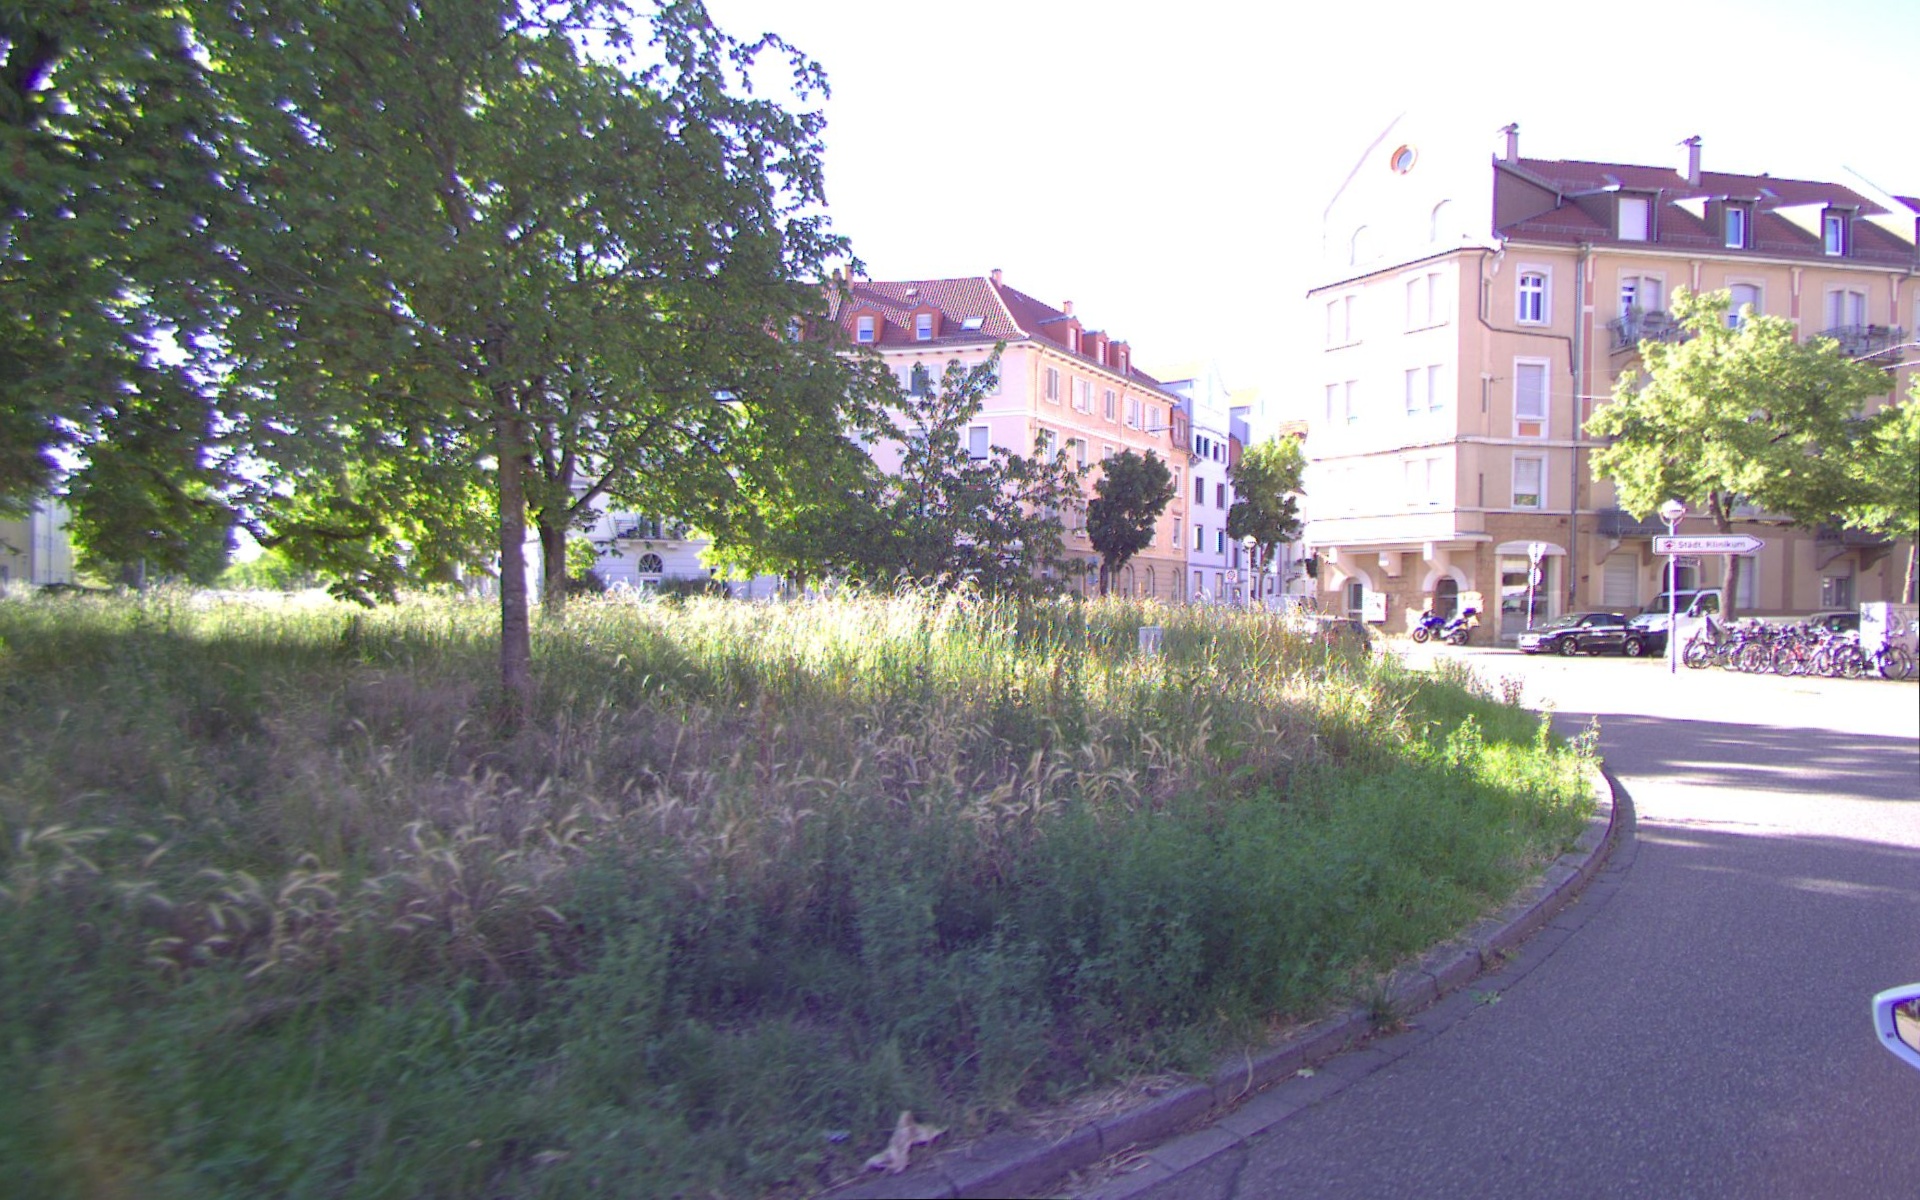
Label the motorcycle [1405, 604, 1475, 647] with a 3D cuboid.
[{"bbox_3d":[17.644,0.919,36.980,0.694,1.430,2.225,-1,3,-38],"label":"motorcycle"}]

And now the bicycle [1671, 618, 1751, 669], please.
[{"bbox_3d":[18.420,1.057,24.653,1.648,1.209,0.537,0,2,-7],"label":"bicycle"}]

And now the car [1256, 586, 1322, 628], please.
[{"bbox_3d":[16.061,0.337,48.871,2.104,1.934,4.551,1,0,31],"label":"car"}]

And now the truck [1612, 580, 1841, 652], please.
[{"bbox_3d":[25.518,0.551,33.531,6.499,2.322,2.137,0,-1,-8],"label":"truck"}]

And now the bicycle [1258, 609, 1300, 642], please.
[{"bbox_3d":[11.524,0.915,36.234,1.682,1.161,0.610,0,0,-39],"label":"bicycle"}]

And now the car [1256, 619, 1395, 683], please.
[{"bbox_3d":[9.584,1.277,26.670,1.836,1.438,3.995,-1,0,-7],"label":"car"}]

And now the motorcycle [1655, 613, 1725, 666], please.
[{"bbox_3d":[19.197,1.015,26.460,0.528,1.287,1.710,0,1,-3],"label":"motorcycle"}]

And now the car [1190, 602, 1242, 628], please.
[{"bbox_3d":[15.871,0.930,62.149,1.675,1.506,3.987,1,0,37],"label":"car"}]

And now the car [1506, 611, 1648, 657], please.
[{"bbox_3d":[19.949,1.086,32.521,3.853,1.408,1.684,0,-1,-12],"label":"car"}]

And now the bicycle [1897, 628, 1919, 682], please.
[{"bbox_3d":[20.463,1.143,20.961,1.497,1.101,0.419,0,2,-5],"label":"bicycle"}]

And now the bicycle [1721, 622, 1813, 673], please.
[{"bbox_3d":[18.608,1.083,23.167,1.697,1.103,0.656,0,2,-7],"label":"bicycle"}]

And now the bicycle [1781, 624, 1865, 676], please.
[{"bbox_3d":[18.904,1.090,22.004,1.544,1.104,0.419,0,2,-5],"label":"bicycle"}]

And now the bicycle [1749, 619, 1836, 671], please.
[{"bbox_3d":[18.645,1.006,22.511,1.619,1.117,0.499,0,2,-6],"label":"bicycle"}]

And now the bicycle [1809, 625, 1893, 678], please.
[{"bbox_3d":[19.125,1.100,21.564,1.497,1.101,0.419,0,2,-5],"label":"bicycle"}]

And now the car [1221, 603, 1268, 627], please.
[{"bbox_3d":[18.661,0.965,65.857,1.675,1.506,3.754,1,0,37],"label":"car"}]

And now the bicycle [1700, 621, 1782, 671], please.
[{"bbox_3d":[18.549,1.075,23.878,1.572,1.142,0.588,0,2,-7],"label":"bicycle"}]
